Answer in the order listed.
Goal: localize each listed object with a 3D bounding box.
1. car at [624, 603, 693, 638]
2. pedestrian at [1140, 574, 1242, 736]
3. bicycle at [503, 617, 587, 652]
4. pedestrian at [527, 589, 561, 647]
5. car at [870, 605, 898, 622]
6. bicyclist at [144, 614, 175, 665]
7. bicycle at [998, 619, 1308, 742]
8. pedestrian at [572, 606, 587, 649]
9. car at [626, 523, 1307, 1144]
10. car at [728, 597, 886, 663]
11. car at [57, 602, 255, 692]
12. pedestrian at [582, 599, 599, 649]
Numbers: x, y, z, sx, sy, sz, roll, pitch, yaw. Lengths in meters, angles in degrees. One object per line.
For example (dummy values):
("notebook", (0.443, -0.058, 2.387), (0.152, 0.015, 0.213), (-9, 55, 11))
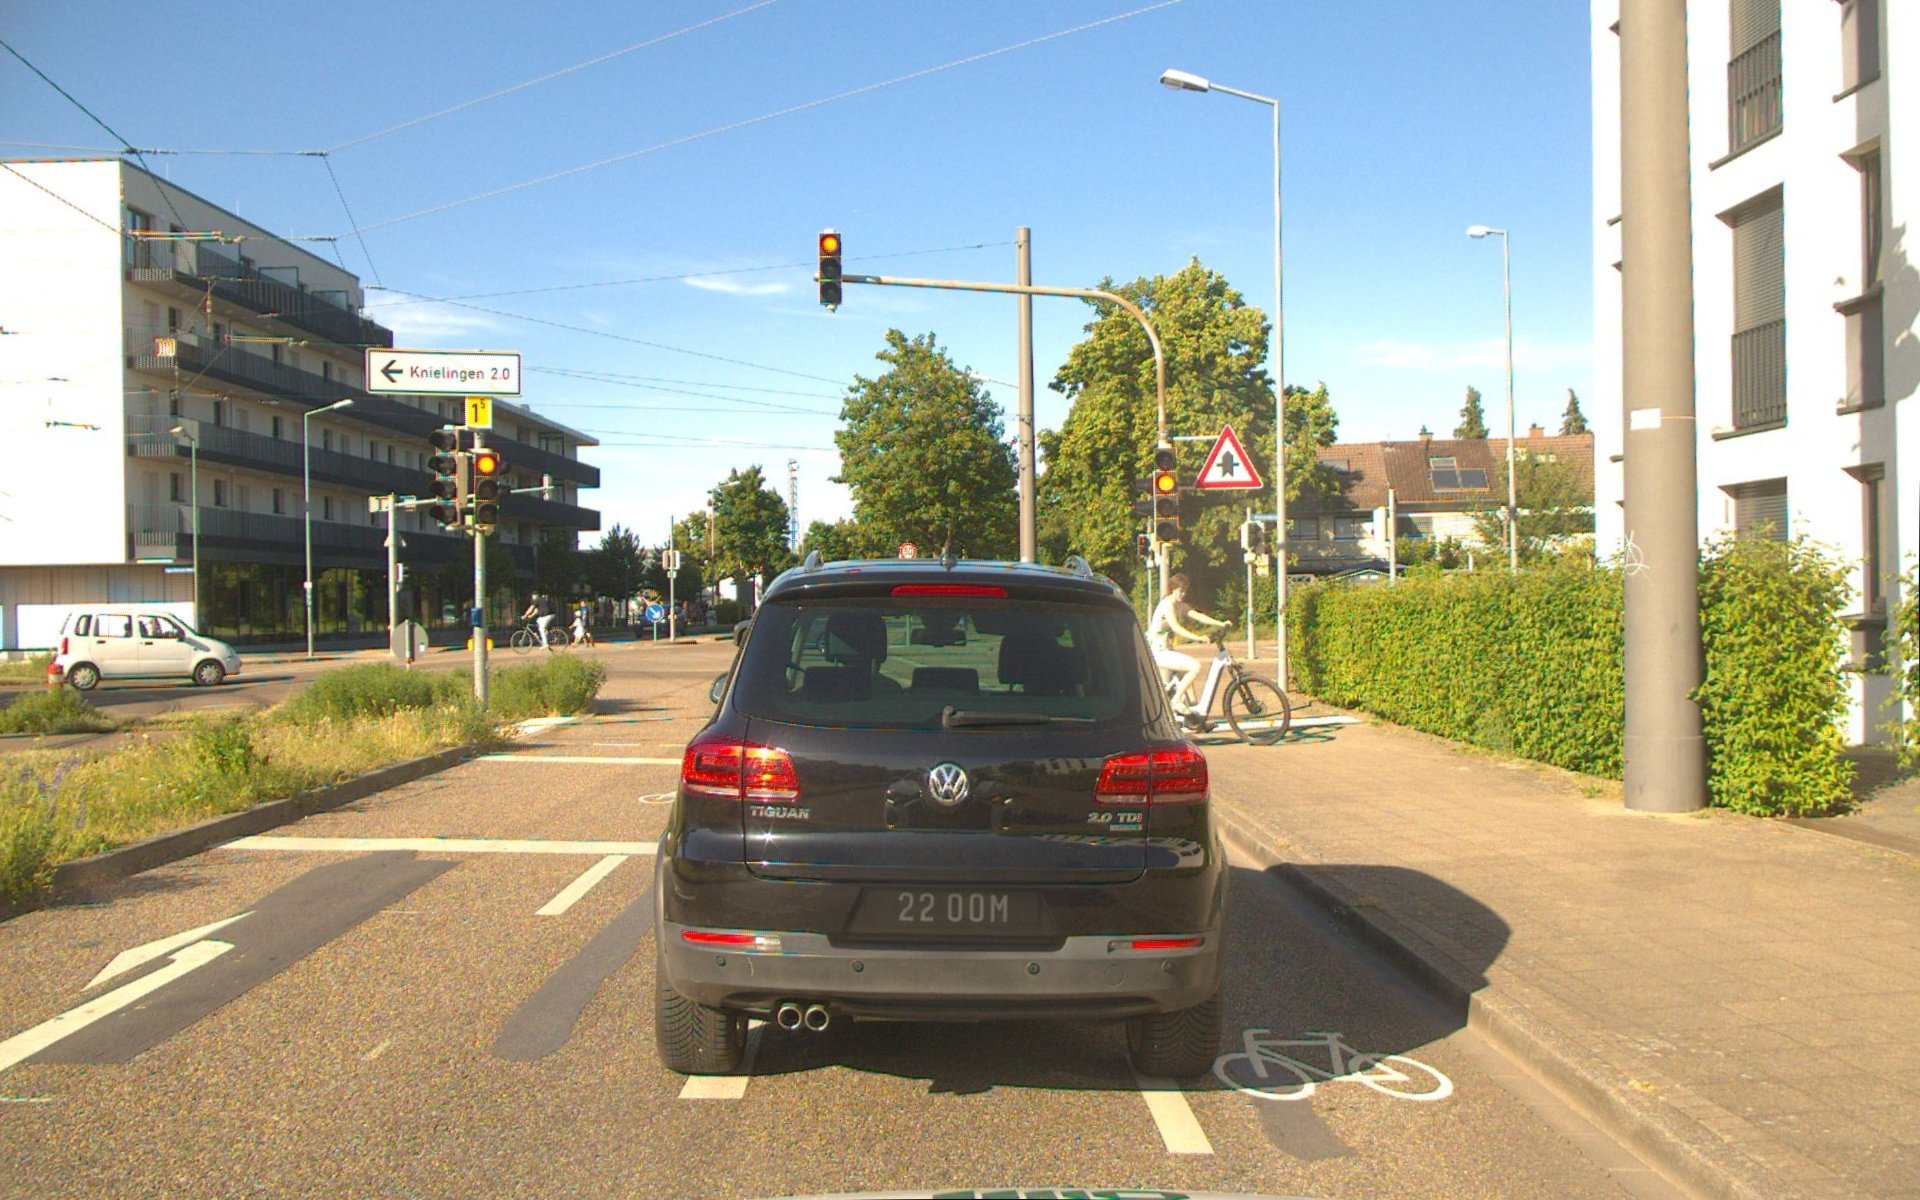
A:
("car", (-14.428, 0.948, 79.424), (1.951, 1.601, 4.343), (1, 0, 9))
("pedestrian", (2.395, 0.555, 17.079), (0.834, 1.622, 0.914), (-1, 0, 20))
("bicycle", (-12.513, 1.039, 49.942), (2.358, 1.020, 0.641), (-1, 0, 6))
("pedestrian", (-12.552, 0.553, 49.940), (0.795, 1.721, 0.621), (-1, 0, 6))
("car", (-7.273, 1.275, 158.785), (1.951, 1.601, 4.342), (1, 0, 7))
("bicyclist", (-25.946, 1.266, 53.591), (0.626, 1.642, 0.784), (1, -1, -5))
("bicycle", (2.001, 0.831, 17.250), (3.051, 1.194, 0.931), (-1, 0, 22))
("pedestrian", (-13.612, 0.975, 59.217), (0.433, 1.529, 0.517), (1, -1, -6))
("car", (-0.004, 0.648, 6.508), (1.831, 1.666, 3.999), (1, 0, -1))
("car", (-4.247, 0.824, 46.078), (3.905, 1.713, 2.000), (1, 0, 20))
("car", (-17.001, 0.949, 34.977), (3.637, 1.750, 1.850), (-1, 0, -31))
("pedestrian", (-13.370, 0.865, 59.856), (0.532, 1.774, 0.517), (1, -1, -6))
